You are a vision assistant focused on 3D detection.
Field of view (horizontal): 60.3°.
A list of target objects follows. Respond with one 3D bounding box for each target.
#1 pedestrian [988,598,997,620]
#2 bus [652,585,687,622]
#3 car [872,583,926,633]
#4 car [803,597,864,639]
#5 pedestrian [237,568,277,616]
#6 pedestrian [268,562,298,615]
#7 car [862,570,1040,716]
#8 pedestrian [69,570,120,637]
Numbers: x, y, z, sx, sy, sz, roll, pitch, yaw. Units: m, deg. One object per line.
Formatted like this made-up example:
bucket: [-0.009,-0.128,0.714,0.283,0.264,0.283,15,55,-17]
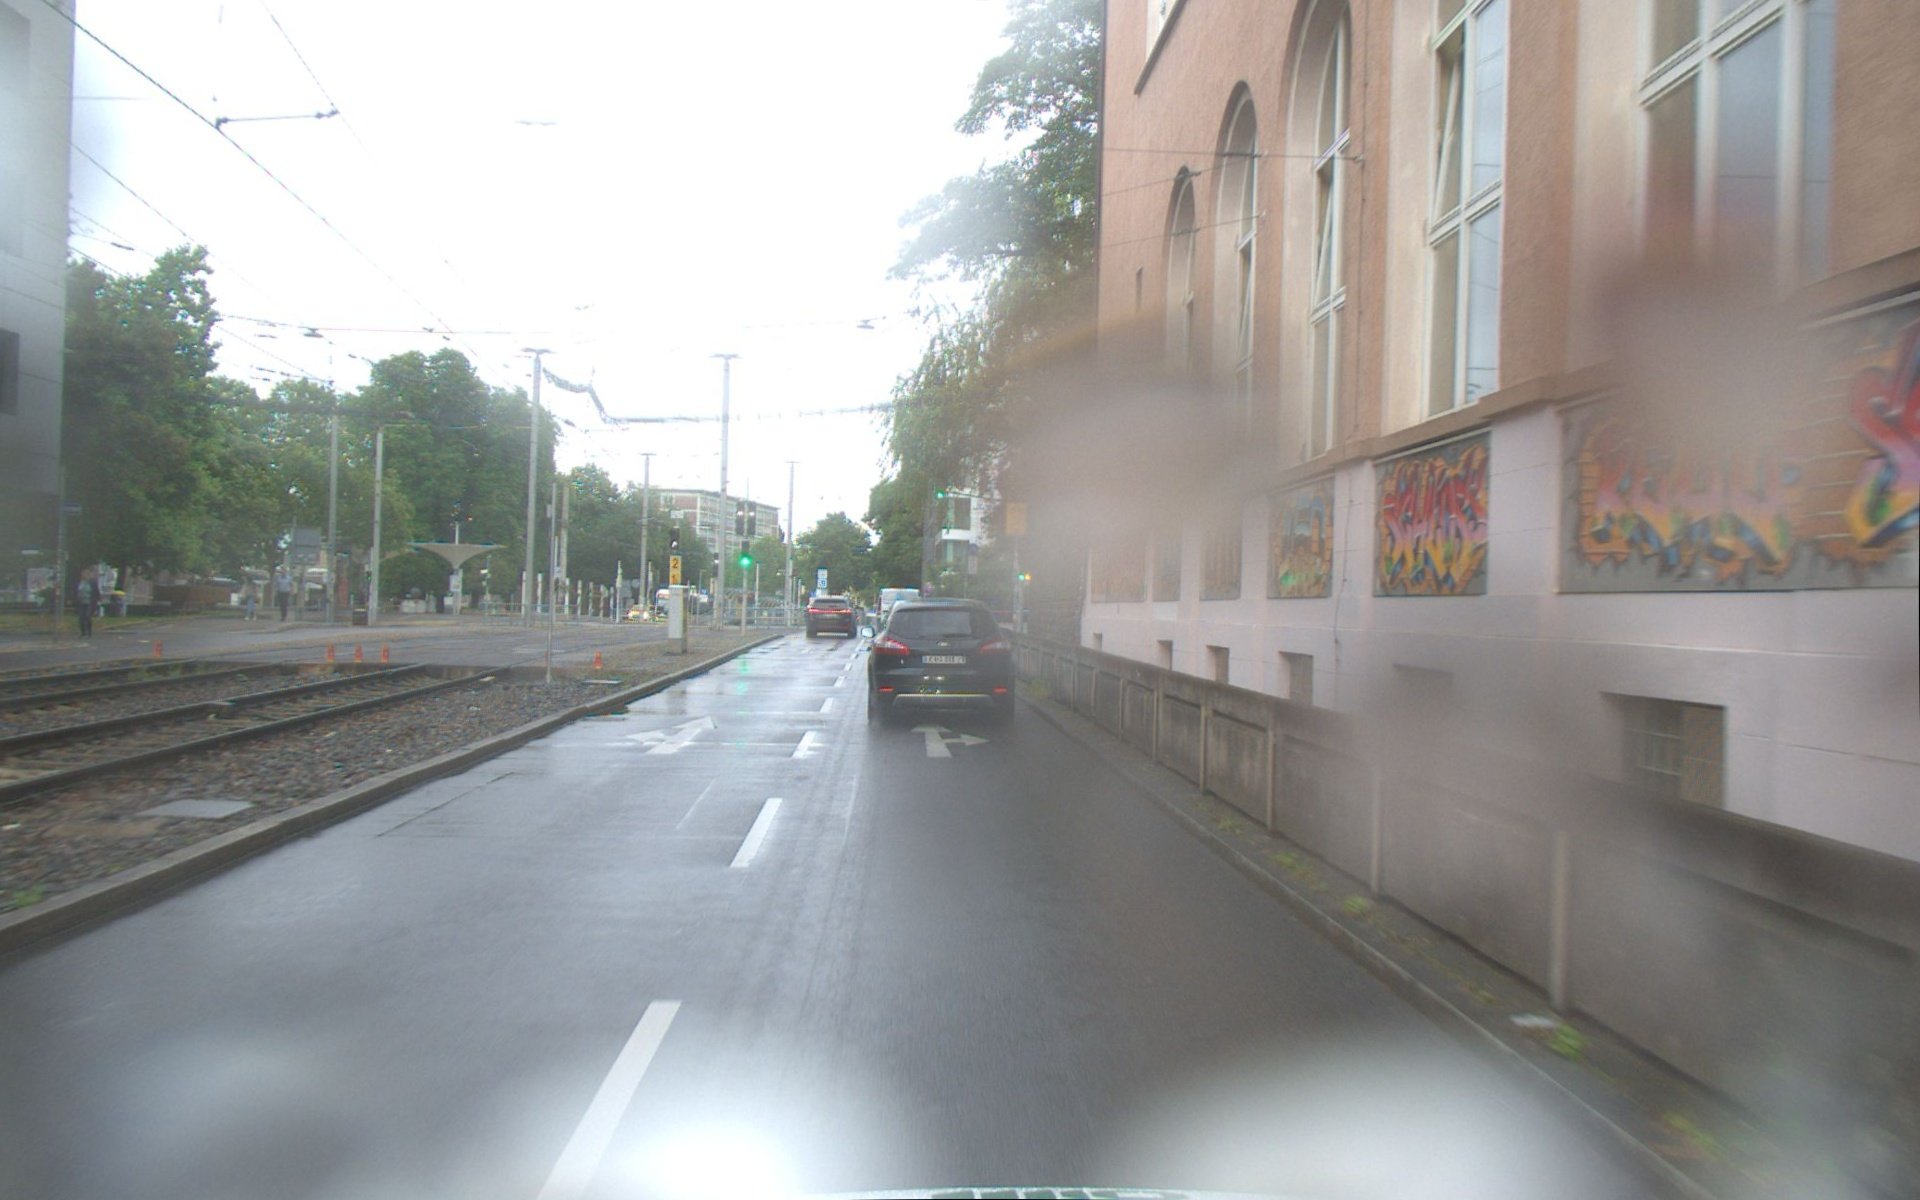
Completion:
pedestrian: [2.312,0.660,118.298,0.530,1.590,0.521,0,-1,18]
bus: [-27.921,0.348,159.215,3.020,3.358,12.496,0,0,-9]
car: [-2.403,0.298,65.954,1.994,1.872,4.391,2,0,-1]
car: [-4.760,0.674,62.780,2.056,1.532,4.730,0,0,-1]
pedestrian: [-24.538,-0.275,57.719,0.906,1.622,0.987,4,-1,-45]
pedestrian: [-24.906,-0.415,60.831,0.898,1.895,0.997,4,-1,-22]
car: [-0.190,0.495,21.121,1.995,1.612,4.390,2,0,-2]
pedestrian: [-21.783,0.091,41.631,0.949,1.622,0.586,4,-1,-19]
